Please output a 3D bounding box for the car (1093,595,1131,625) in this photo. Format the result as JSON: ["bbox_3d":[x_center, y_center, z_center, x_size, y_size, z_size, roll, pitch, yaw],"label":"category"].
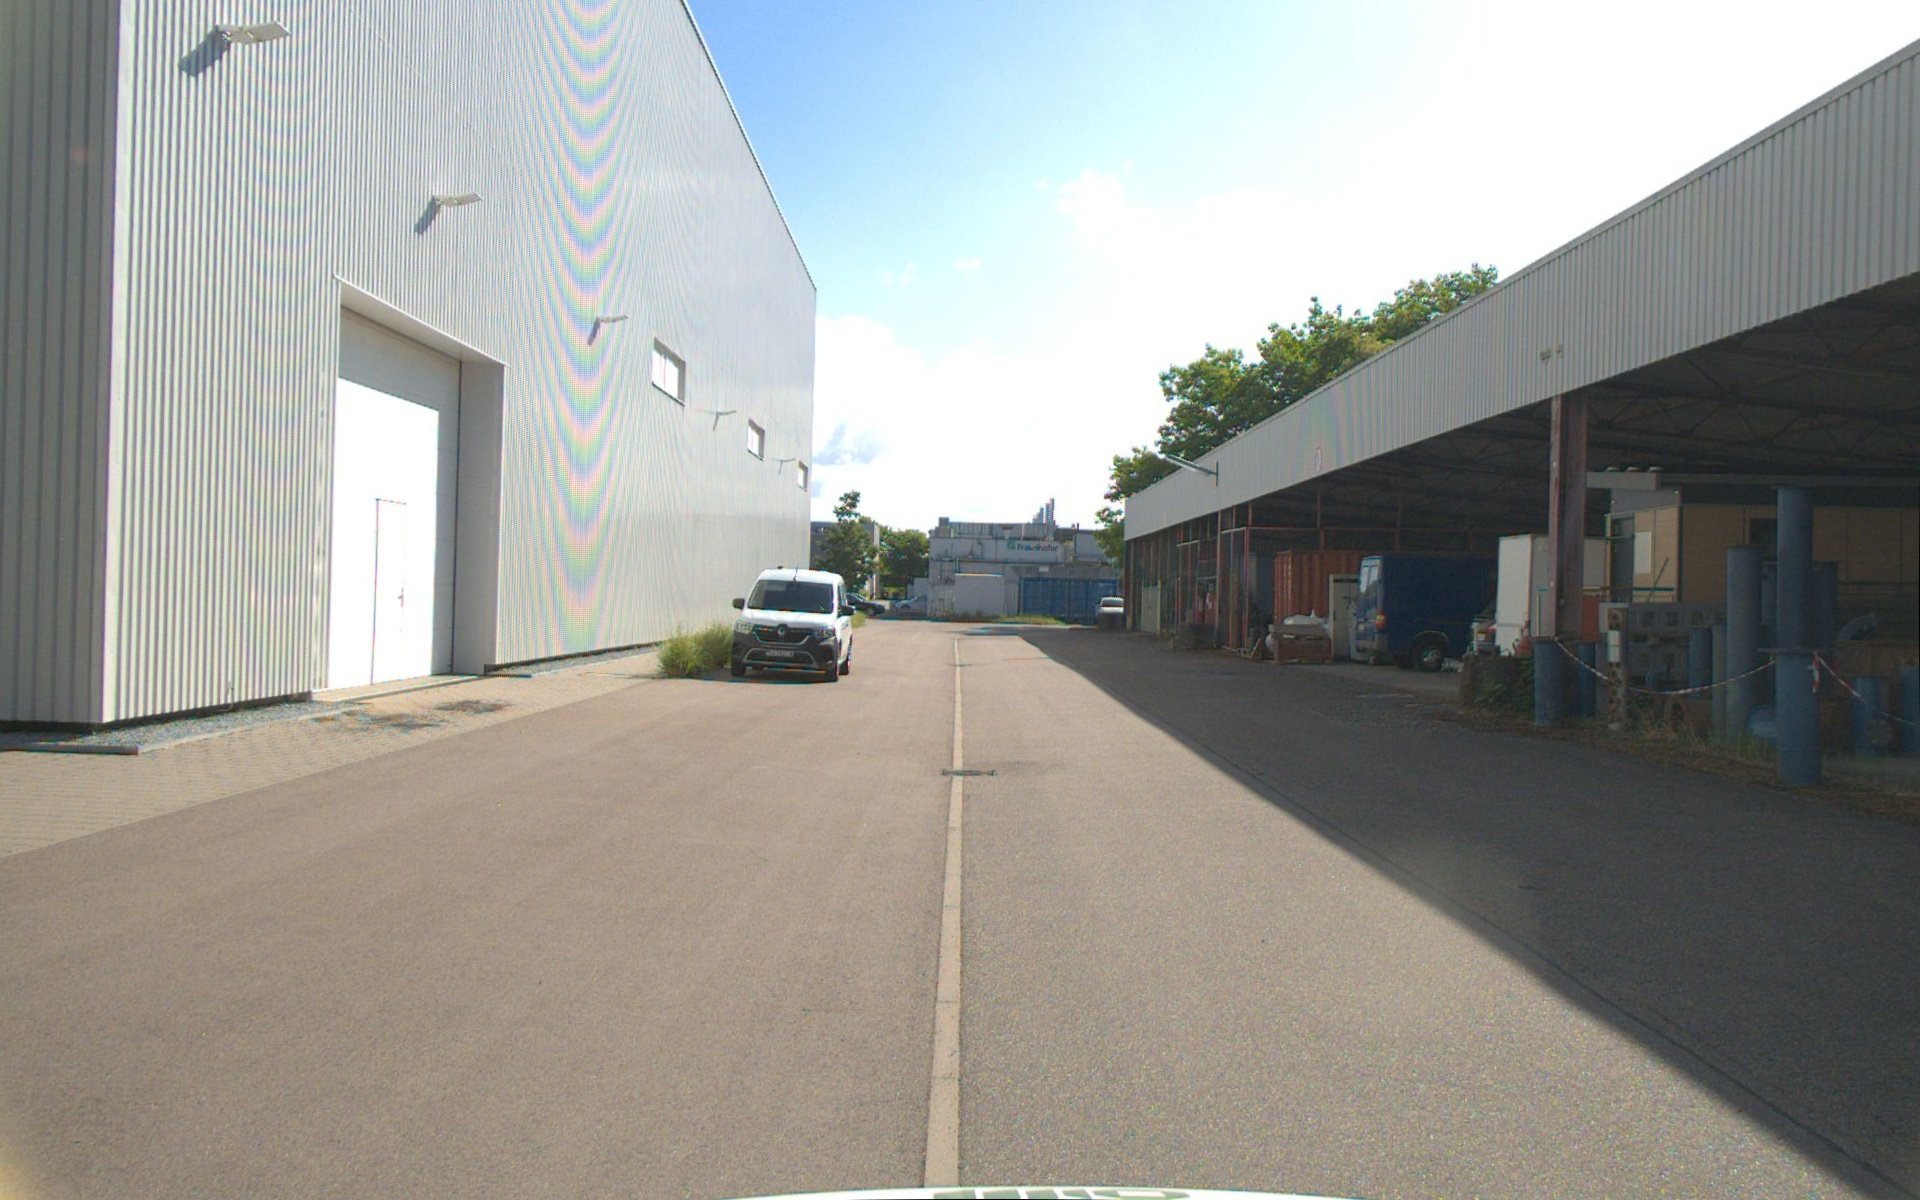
[{"bbox_3d":[8.994,0.583,98.256,1.921,1.592,4.060,3,1,2],"label":"car"}]

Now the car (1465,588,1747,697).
[{"bbox_3d":[10.585,0.709,27.273,3.955,1.551,1.684,3,-2,1],"label":"car"}]

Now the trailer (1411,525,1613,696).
[{"bbox_3d":[8.288,0.166,24.996,2.471,2.441,1.727,1,-1,1],"label":"trailer"}]

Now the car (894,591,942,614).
[{"bbox_3d":[-3.517,0.209,138.484,3.906,1.626,1.847,3,-2,-2],"label":"car"}]

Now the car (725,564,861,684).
[{"bbox_3d":[-2.777,0.357,28.393,1.781,1.818,4.405,3,0,0],"label":"car"}]

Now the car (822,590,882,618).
[{"bbox_3d":[-7.199,0.269,110.583,3.906,1.626,1.741,3,-2,-2],"label":"car"}]

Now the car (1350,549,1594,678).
[{"bbox_3d":[10.397,0.296,33.793,4.342,2.350,1.915,3,-2,1],"label":"car"}]
